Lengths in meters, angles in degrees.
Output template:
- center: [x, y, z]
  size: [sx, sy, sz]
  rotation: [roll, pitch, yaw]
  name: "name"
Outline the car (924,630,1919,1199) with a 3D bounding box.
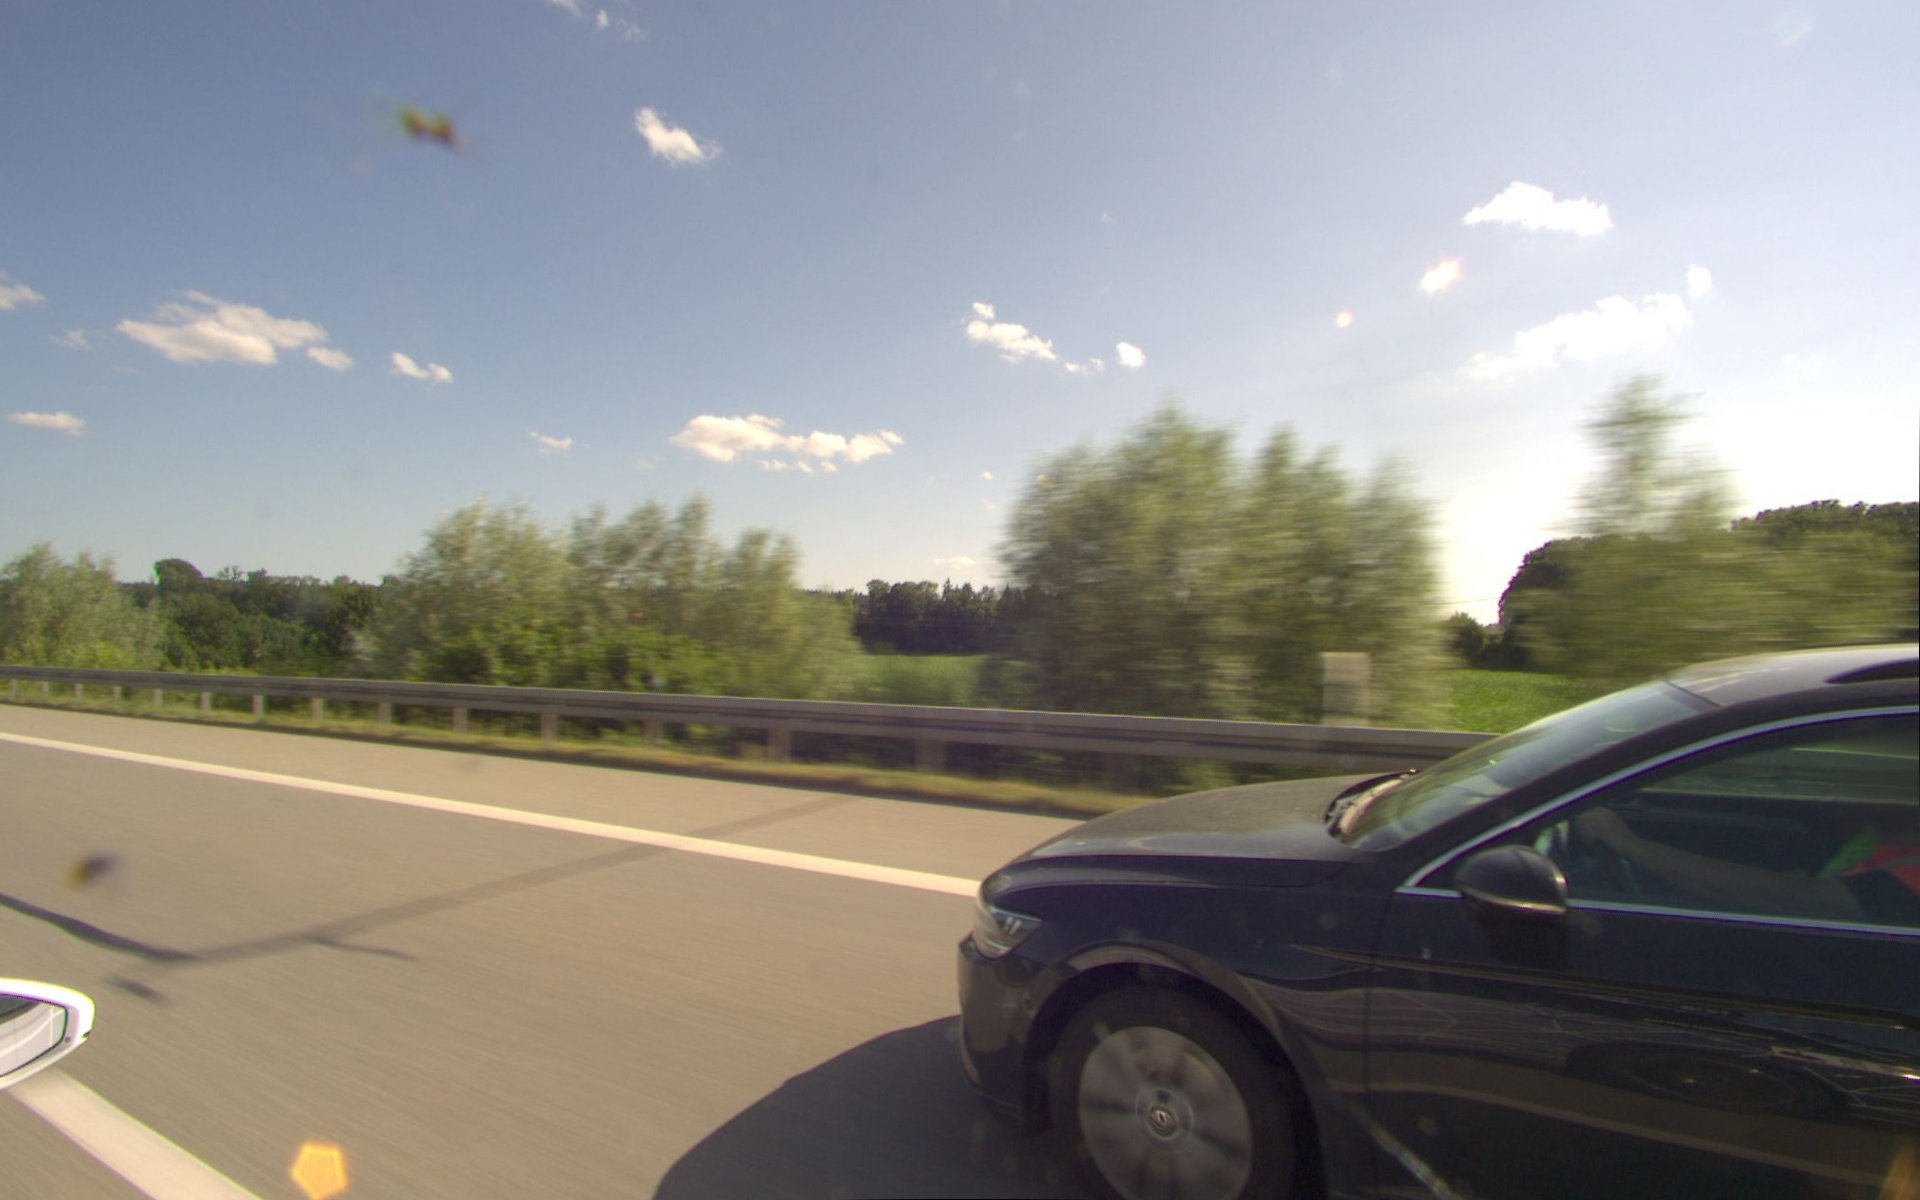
- center: [2.195, 0.778, 2.204]
  size: [4.350, 1.417, 1.716]
  rotation: [-1, -2, 32]
  name: "car"
